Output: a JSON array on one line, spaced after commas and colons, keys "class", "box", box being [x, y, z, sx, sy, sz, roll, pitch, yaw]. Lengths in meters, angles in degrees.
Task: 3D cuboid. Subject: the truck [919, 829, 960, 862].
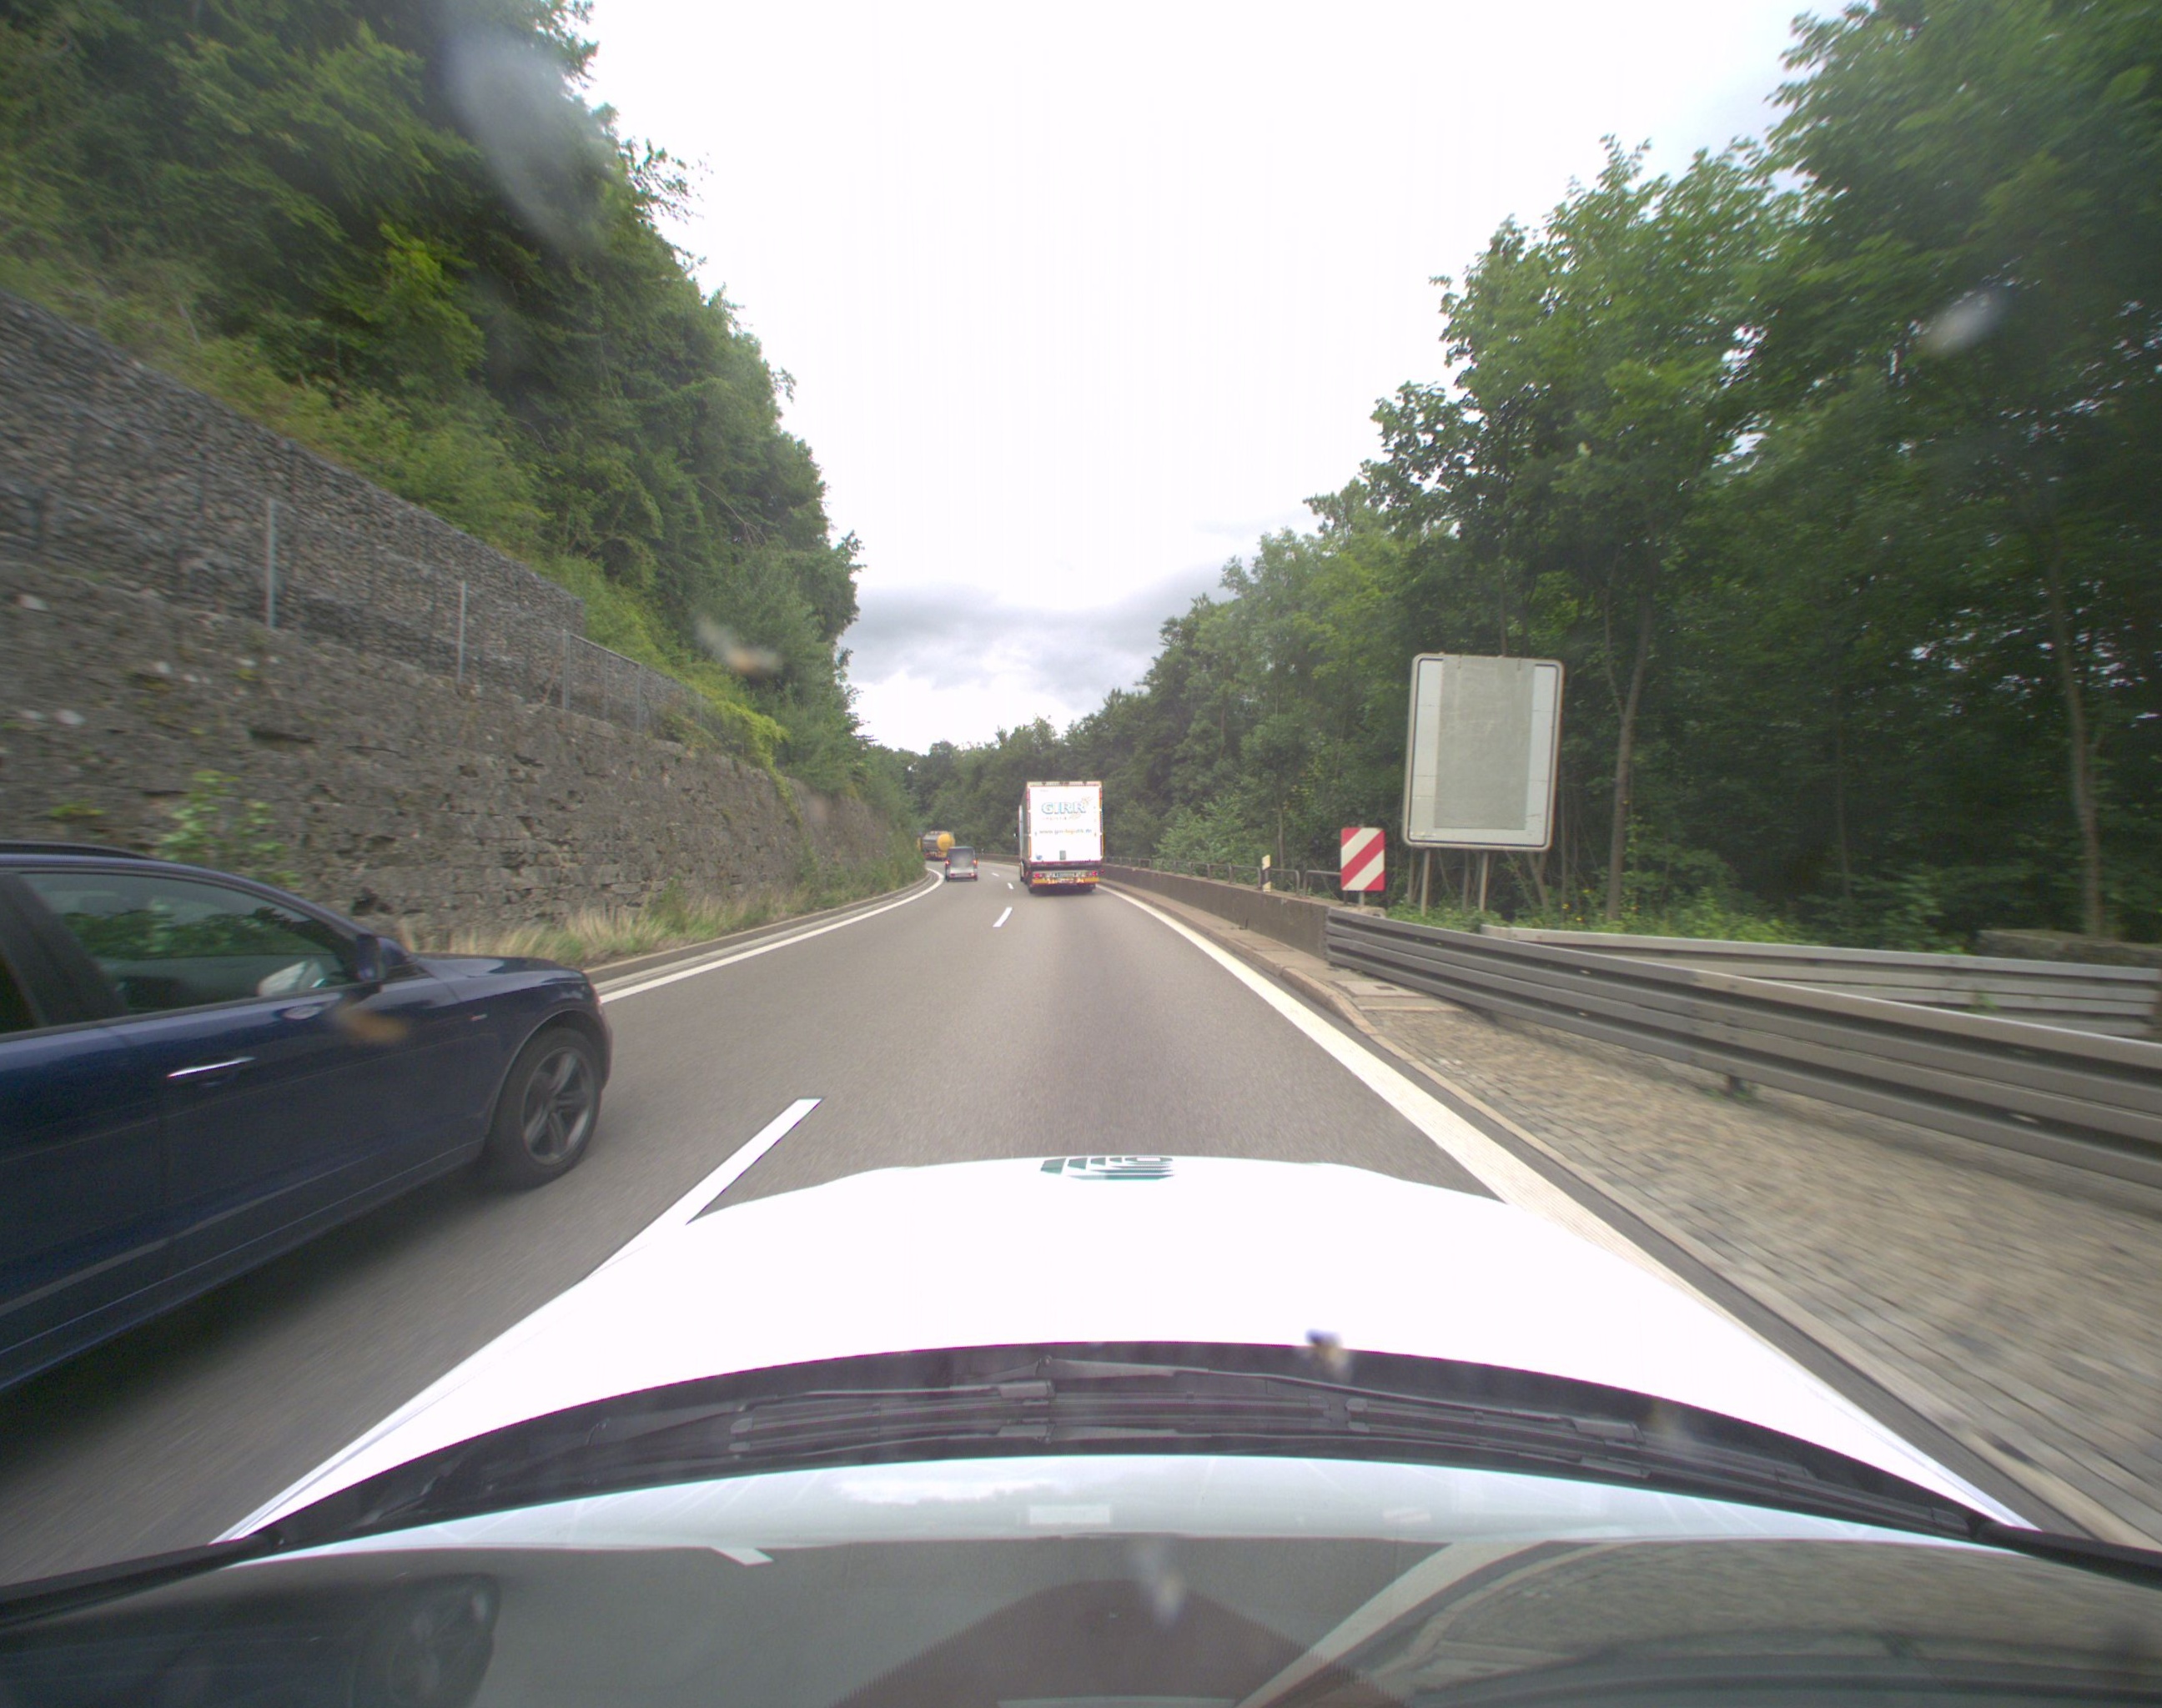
[{"class": "truck", "box": [-18.642, -0.960, 106.451, 3.067, 3.986, 13.610, -1, 0, -19]}]

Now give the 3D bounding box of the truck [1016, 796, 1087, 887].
[{"class": "truck", "box": [-1.579, -0.646, 39.840, 3.052, 3.985, 7.176, 2, 1, -5]}]

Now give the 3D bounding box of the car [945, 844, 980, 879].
[{"class": "car", "box": [-7.302, 0.439, 50.149, 1.992, 2.014, 5.524, -1, -1, -8]}]

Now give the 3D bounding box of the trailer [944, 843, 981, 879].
[{"class": "trailer", "box": [-6.649, 0.408, 45.721, 1.970, 1.939, 3.420, -1, -1, -9]}]

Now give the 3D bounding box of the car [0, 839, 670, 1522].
[{"class": "car", "box": [-3.482, 0.737, 1.972, 1.964, 1.593, 5.586, 2, -1, 1]}]

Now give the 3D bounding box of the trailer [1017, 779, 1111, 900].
[{"class": "trailer", "box": [-1.052, -0.648, 33.400, 3.052, 3.985, 12.118, 2, 1, -5]}]
